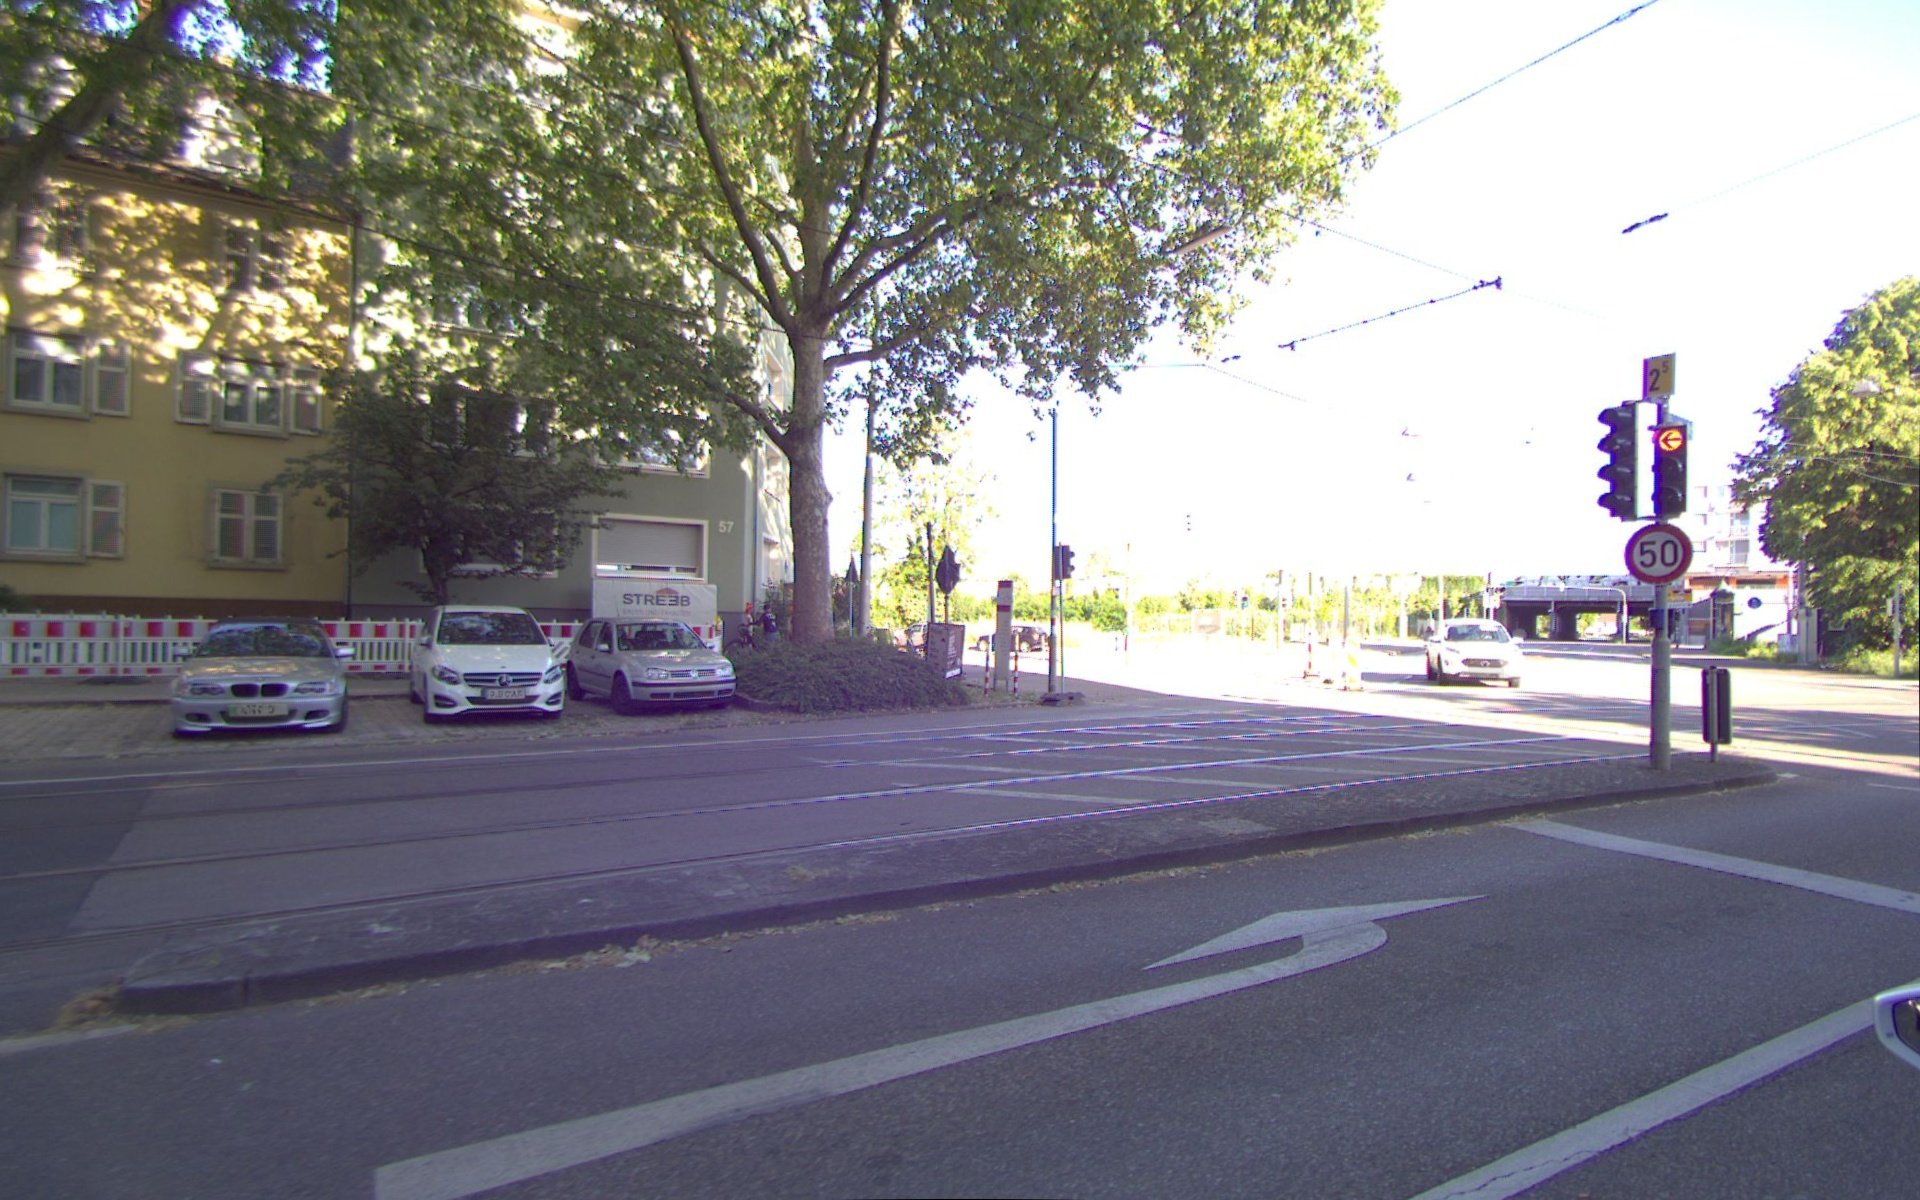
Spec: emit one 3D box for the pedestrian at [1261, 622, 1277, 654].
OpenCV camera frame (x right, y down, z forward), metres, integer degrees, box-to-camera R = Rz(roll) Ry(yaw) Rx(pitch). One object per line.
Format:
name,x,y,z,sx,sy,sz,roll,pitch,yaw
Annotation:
pedestrian,15.878,1.936,51.571,0.591,1.617,0.683,2,0,33

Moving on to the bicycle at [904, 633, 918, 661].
bicycle,-1.470,1.412,30.367,0.351,0.769,1.780,1,-1,0

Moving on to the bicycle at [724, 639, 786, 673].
bicycle,-5.015,1.361,24.667,0.352,0.769,1.776,1,-1,31

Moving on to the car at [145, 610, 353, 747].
car,-8.996,0.898,13.033,1.824,1.387,4.049,3,0,-31

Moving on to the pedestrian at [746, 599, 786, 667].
pedestrian,-4.651,0.778,24.114,0.592,1.589,0.741,1,-1,32

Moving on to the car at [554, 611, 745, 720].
car,-5.146,0.982,16.345,1.689,1.436,3.957,3,0,-37

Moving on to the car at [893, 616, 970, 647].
car,-1.632,1.785,56.939,3.931,1.439,1.888,1,5,33

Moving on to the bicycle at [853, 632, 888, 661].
bicycle,-2.495,1.299,28.226,0.351,0.769,1.781,1,-1,17

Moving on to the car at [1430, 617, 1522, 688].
car,13.480,1.290,26.168,1.964,1.653,4.623,0,-1,29

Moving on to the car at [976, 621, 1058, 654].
car,3.052,1.971,53.730,3.931,1.439,1.888,1,5,33

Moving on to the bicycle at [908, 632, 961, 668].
bicycle,-0.708,1.339,27.266,0.356,0.900,1.758,2,-1,-42

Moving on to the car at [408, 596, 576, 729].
car,-7.064,0.823,14.933,1.824,1.633,4.049,3,0,-31
